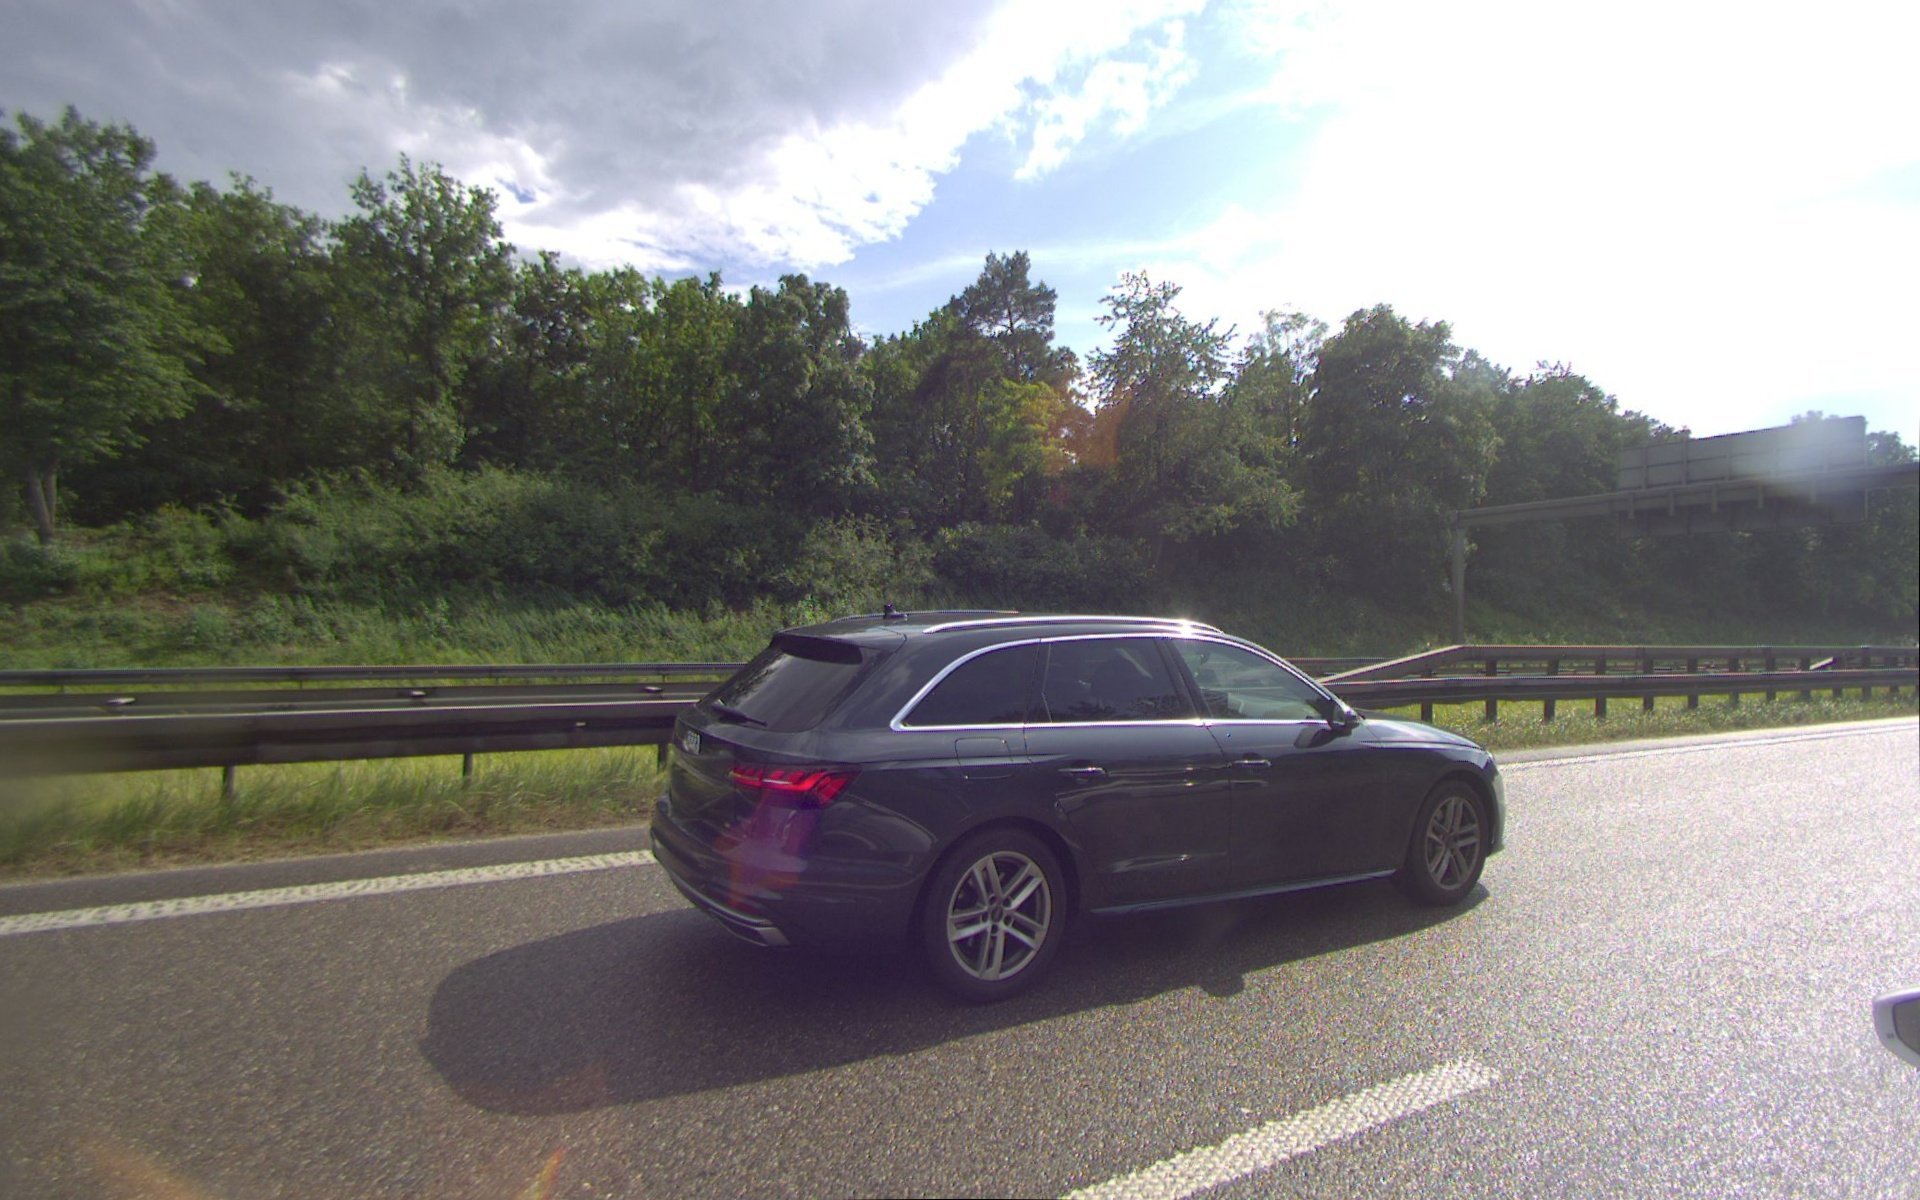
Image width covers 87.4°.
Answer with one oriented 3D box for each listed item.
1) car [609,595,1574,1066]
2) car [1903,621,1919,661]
[{"bbox_3d":[0.888,0.769,5.102,4.783,1.437,1.785,2,0,-31],"label":"car"},{"bbox_3d":[57.326,2.437,58.338,5.909,2.279,2.134,2,0,-30],"label":"car"}]
